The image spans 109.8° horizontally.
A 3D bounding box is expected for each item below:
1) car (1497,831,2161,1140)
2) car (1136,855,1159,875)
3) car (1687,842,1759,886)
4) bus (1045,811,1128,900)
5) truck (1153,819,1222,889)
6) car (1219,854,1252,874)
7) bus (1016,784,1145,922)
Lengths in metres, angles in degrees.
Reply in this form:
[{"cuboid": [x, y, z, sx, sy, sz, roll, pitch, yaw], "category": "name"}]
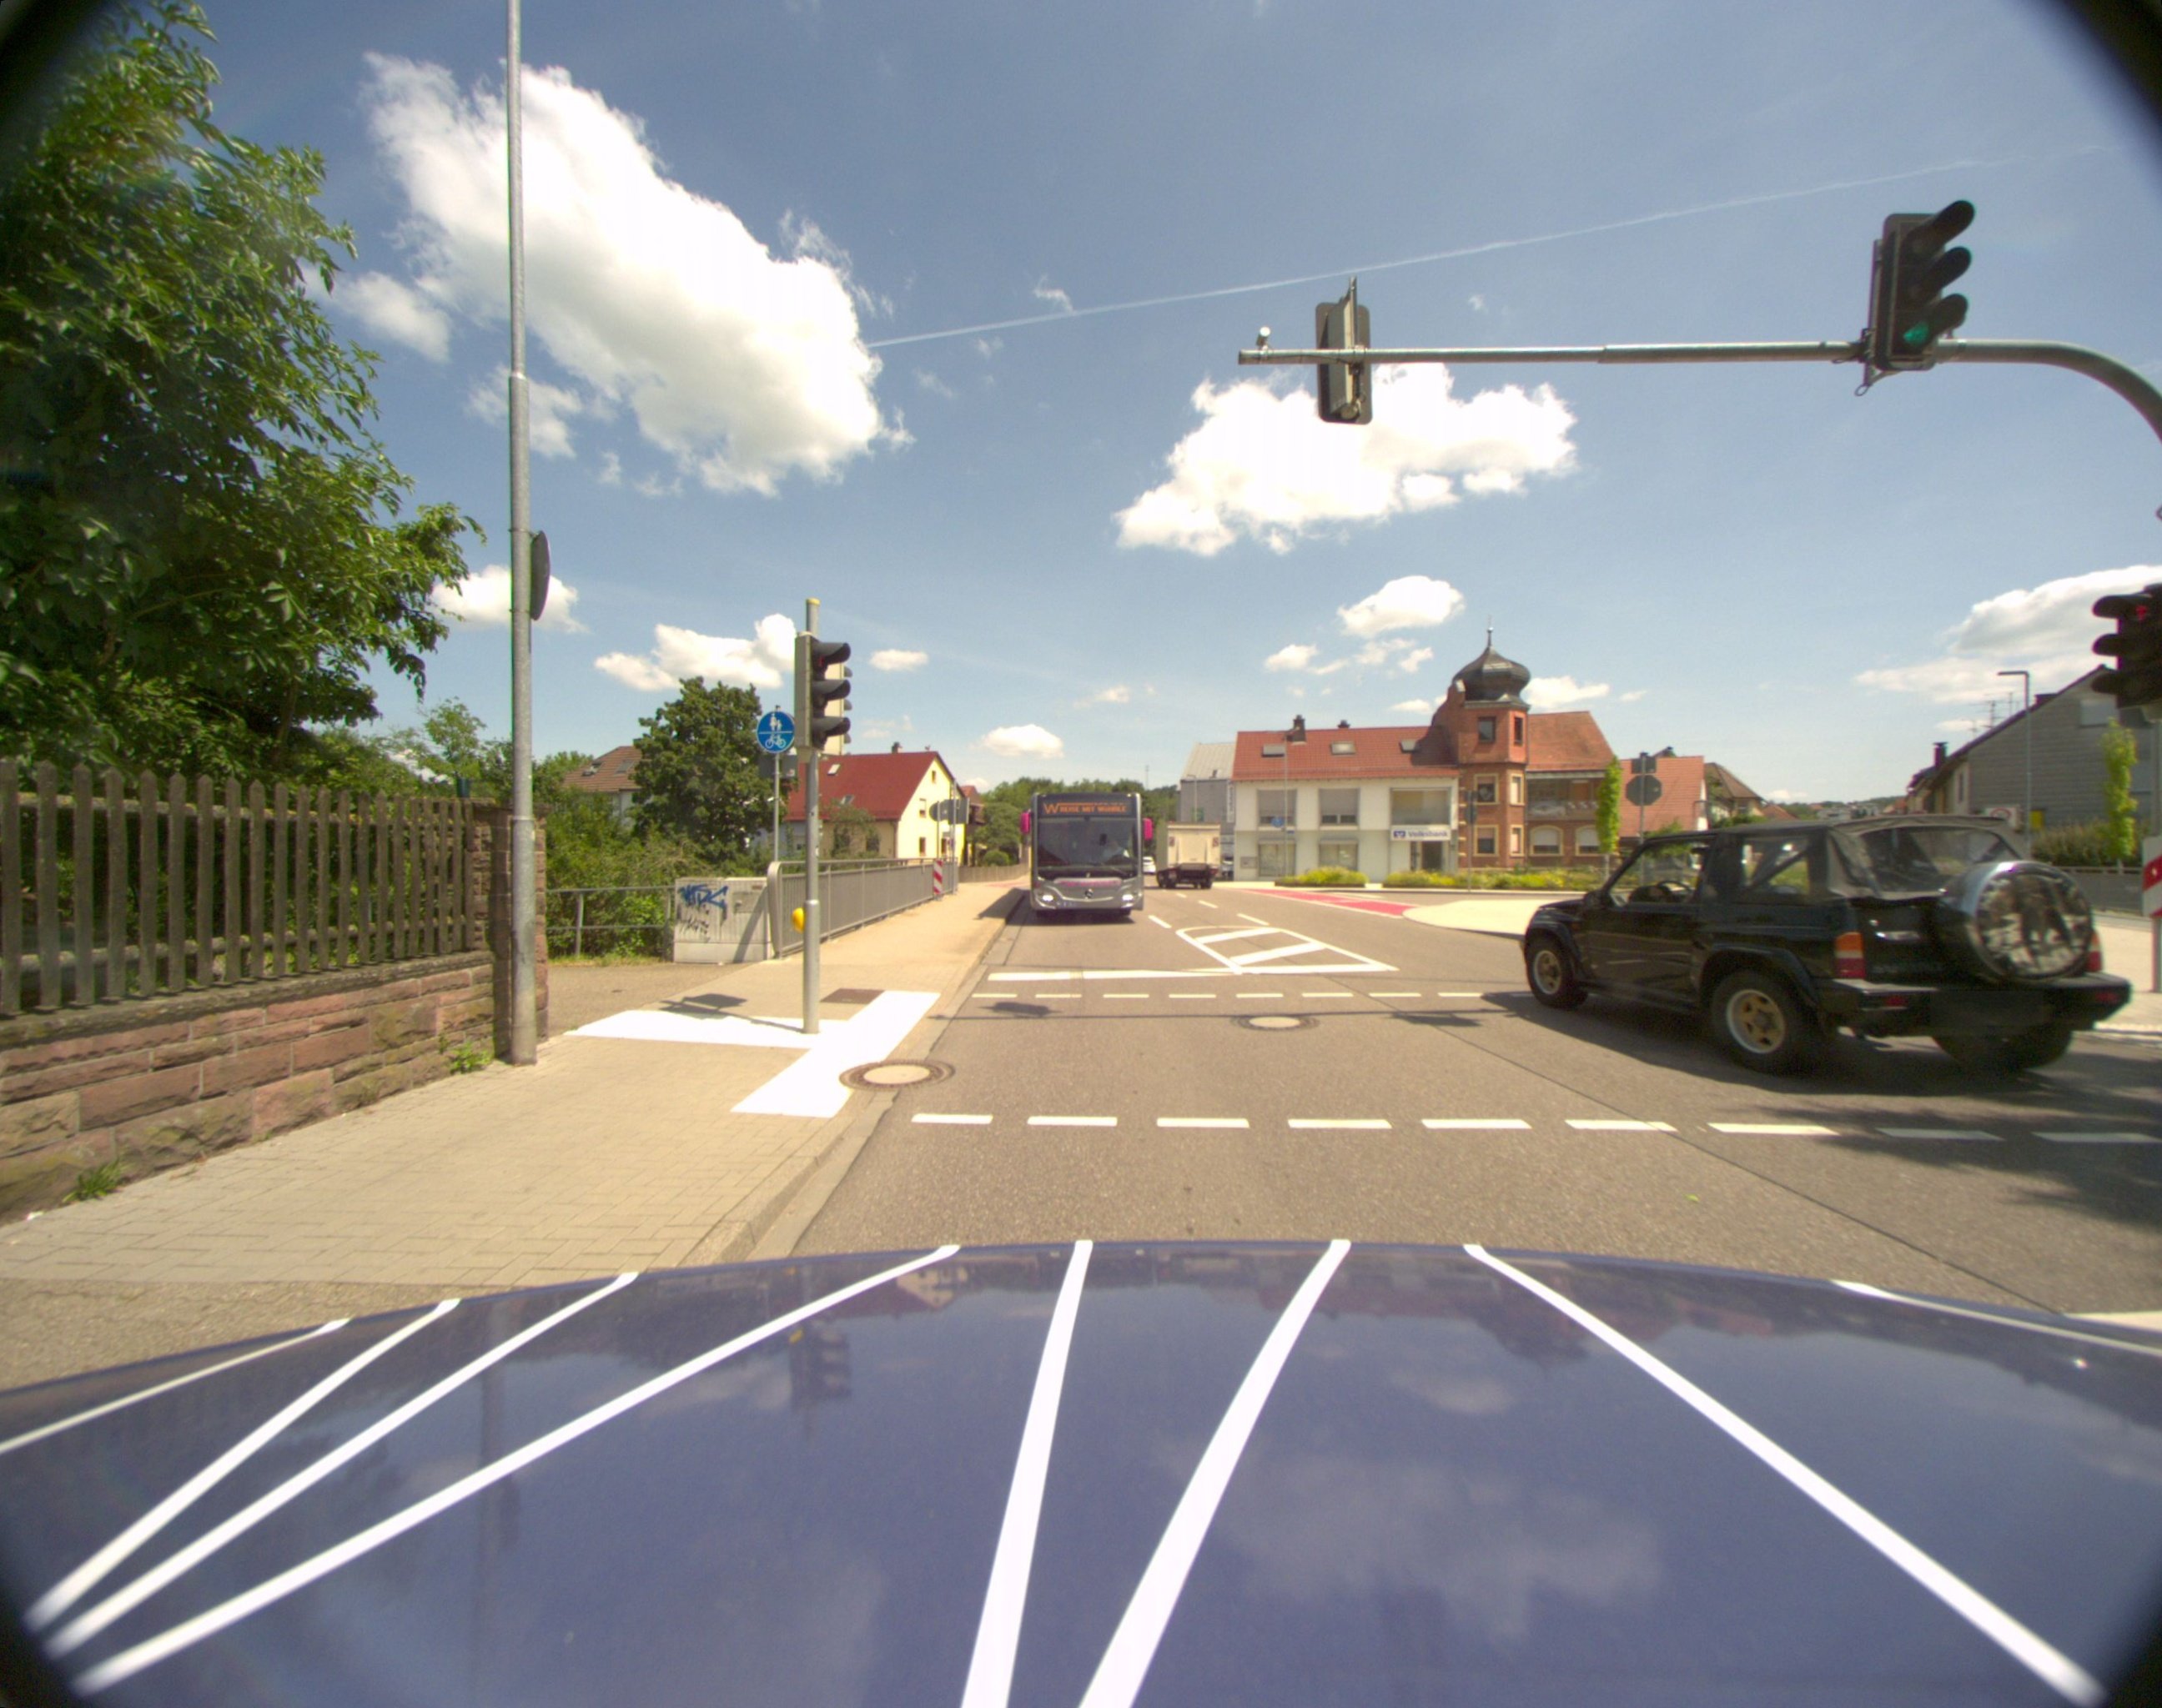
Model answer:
[{"cuboid": [5.153, 0.700, 5.903, 1.743, 1.641, 3.667, 0, 0, -2], "category": "car"}, {"cuboid": [5.882, 0.925, 67.225, 1.819, 1.640, 4.000, -1, 1, 2], "category": "car"}, {"cuboid": [36.250, 0.531, 42.843, 5.122, 2.332, 2.167, 0, 1, -40], "category": "car"}, {"cuboid": [0.238, 0.181, 30.513, 2.755, 2.949, 9.283, 1, -2, 1], "category": "bus"}, {"cuboid": [5.197, 0.008, 37.936, 2.508, 3.216, 6.040, 0, 0, 0], "category": "truck"}, {"cuboid": [13.076, 0.843, 64.082, 1.995, 1.565, 4.260, 1, 0, 21], "category": "car"}, {"cuboid": [0.104, 0.105, 21.156, 2.755, 2.949, 9.284, 1, -2, 1], "category": "bus"}]
